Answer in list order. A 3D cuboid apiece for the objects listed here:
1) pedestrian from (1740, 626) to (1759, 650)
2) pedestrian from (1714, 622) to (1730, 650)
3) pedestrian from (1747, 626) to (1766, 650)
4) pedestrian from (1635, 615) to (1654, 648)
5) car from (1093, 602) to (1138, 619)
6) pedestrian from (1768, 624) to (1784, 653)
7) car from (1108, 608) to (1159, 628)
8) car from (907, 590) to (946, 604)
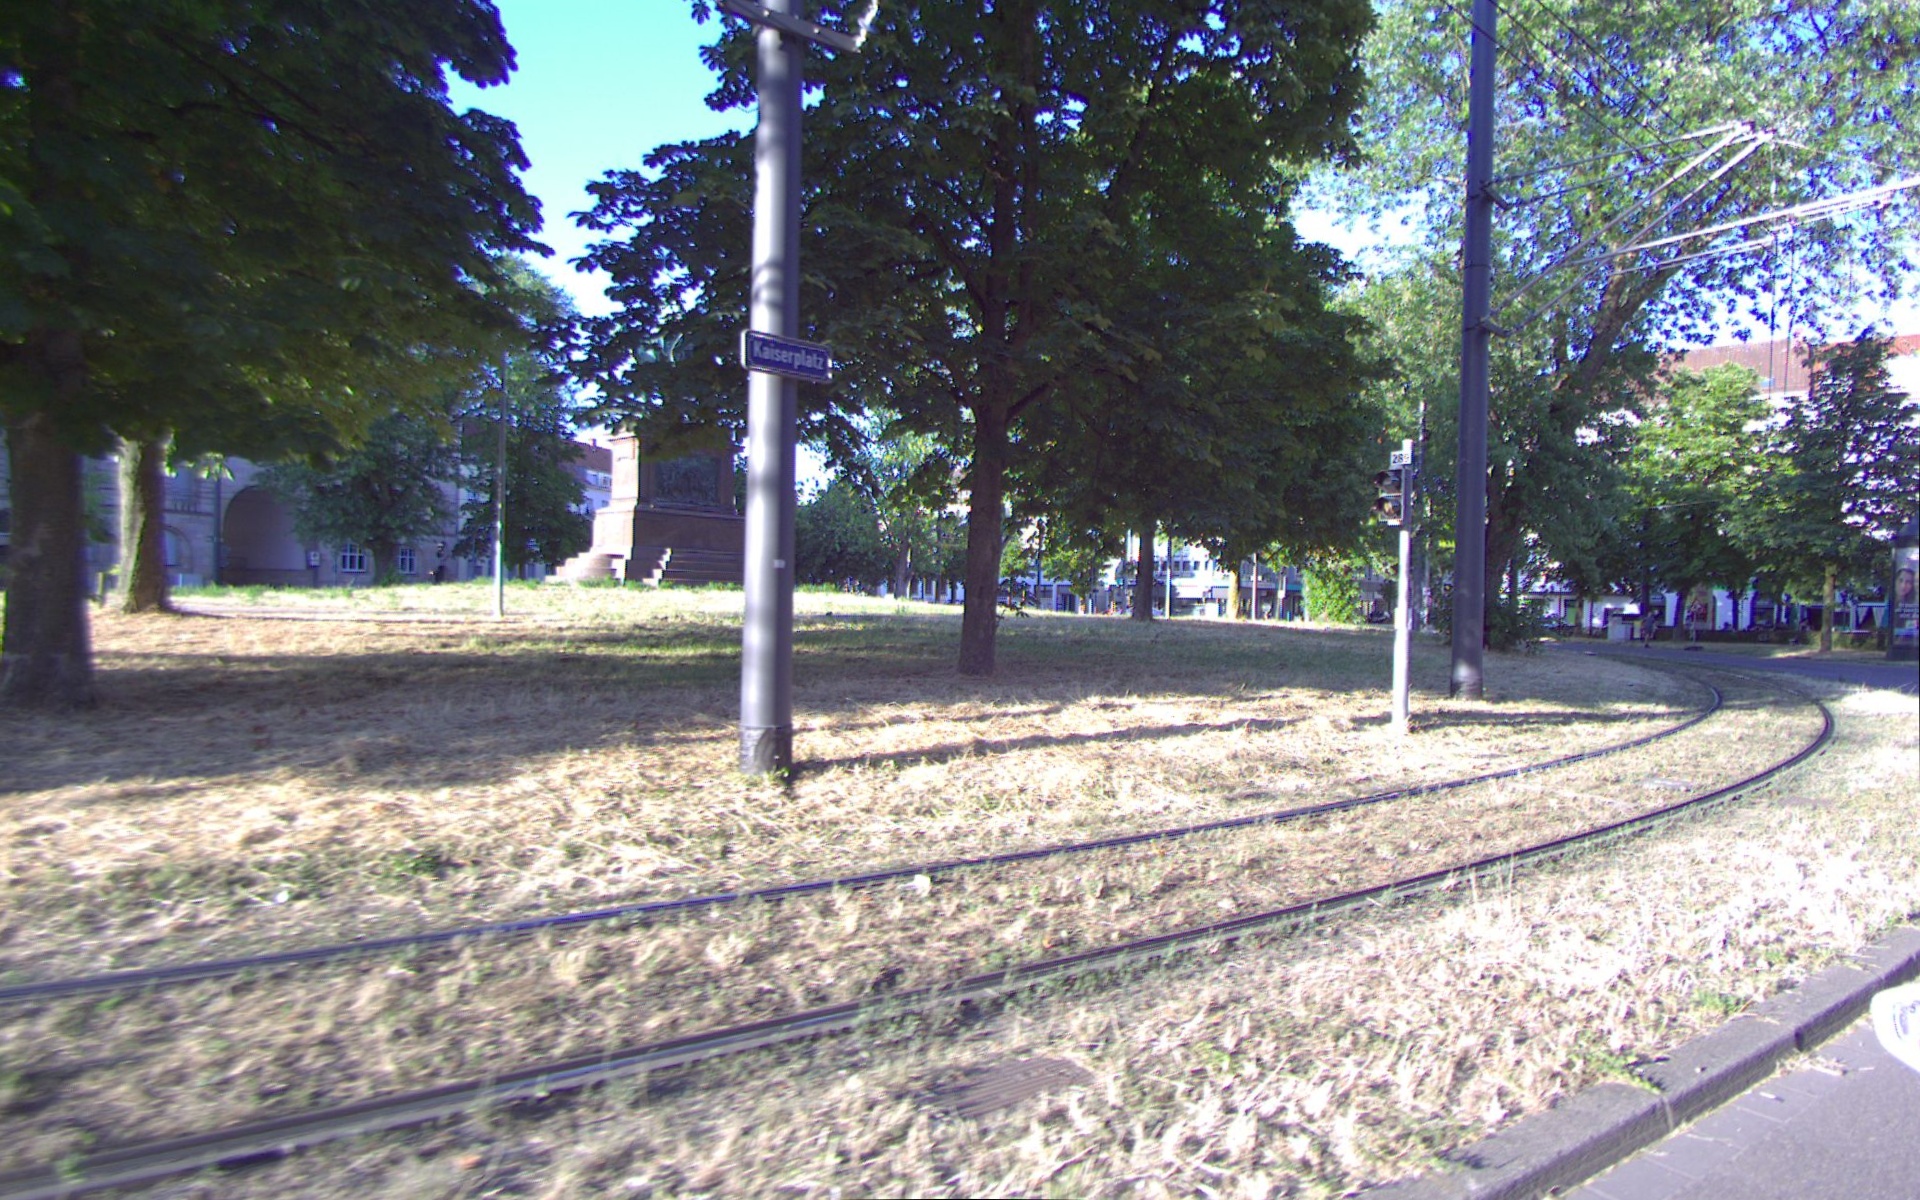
[{"bbox_3d":[45.655,2.194,58.093,0.654,1.370,0.661,2,1,-38],"label":"pedestrian"},{"bbox_3d":[42.897,2.033,56.537,0.654,1.517,0.530,2,1,-39],"label":"pedestrian"},{"bbox_3d":[46.486,2.220,58.629,0.654,1.370,0.661,2,1,-38],"label":"pedestrian"},{"bbox_3d":[34.027,1.548,49.946,0.550,1.587,0.594,3,1,13],"label":"pedestrian"},{"bbox_3d":[15.508,1.032,100.019,3.940,1.483,1.990,3,1,41],"label":"car"},{"bbox_3d":[44.200,2.088,54.407,0.654,1.517,0.530,2,1,-39],"label":"pedestrian"},{"bbox_3d":[14.372,1.466,83.170,3.892,1.483,1.586,2,1,-19],"label":"car"},{"bbox_3d":[-3.647,-0.325,109.269,3.898,1.272,1.599,3,1,32],"label":"car"}]
